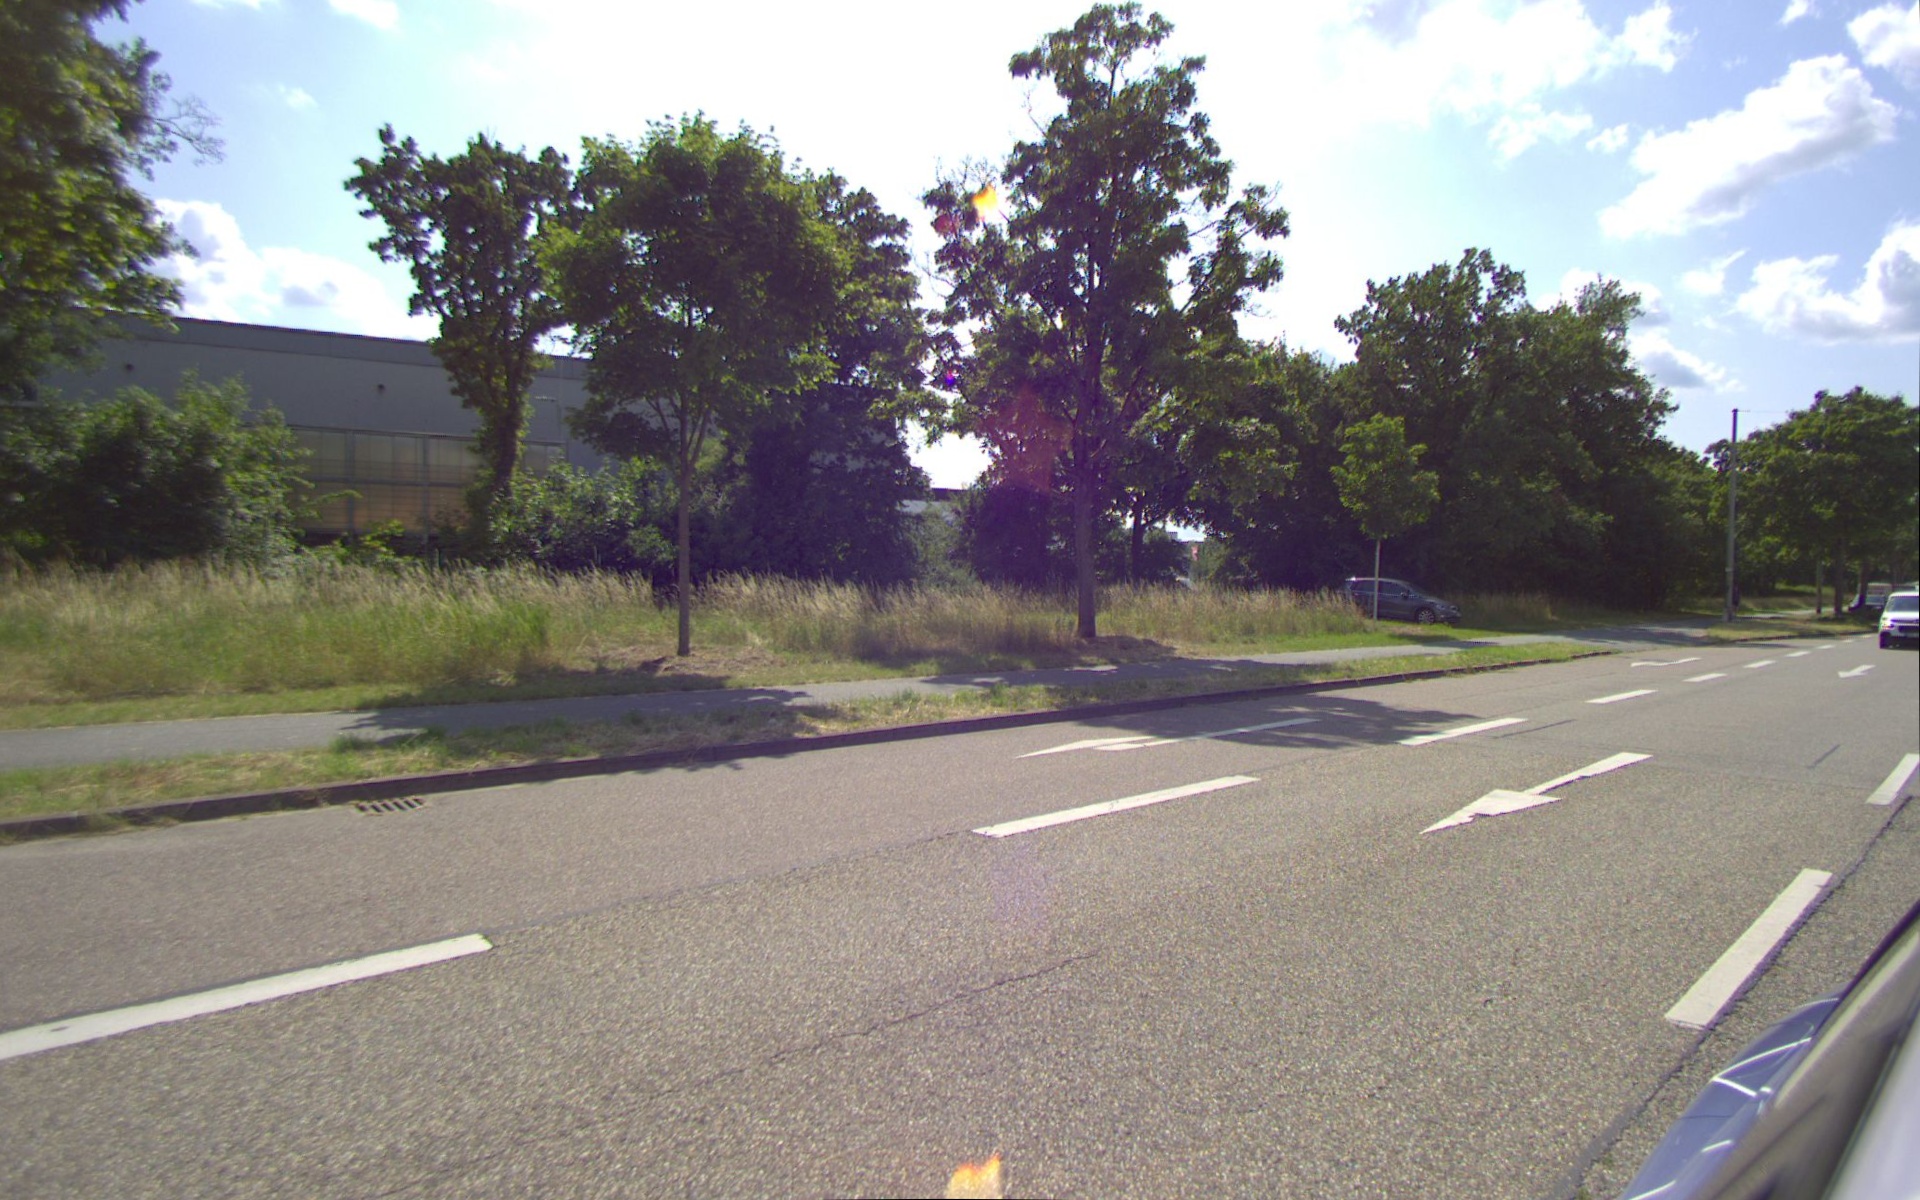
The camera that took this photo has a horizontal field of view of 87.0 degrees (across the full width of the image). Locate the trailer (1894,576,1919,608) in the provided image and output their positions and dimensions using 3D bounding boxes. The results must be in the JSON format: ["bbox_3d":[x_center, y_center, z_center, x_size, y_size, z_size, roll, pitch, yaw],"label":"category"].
[{"bbox_3d":[77.471,-0.633,82.099,4.702,2.393,1.997,-1,6,-43],"label":"trailer"}]

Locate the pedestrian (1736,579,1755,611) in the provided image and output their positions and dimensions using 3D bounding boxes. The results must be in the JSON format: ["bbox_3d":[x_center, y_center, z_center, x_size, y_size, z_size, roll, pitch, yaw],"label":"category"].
[{"bbox_3d":[44.377,-0.280,57.183,0.728,1.816,0.717,-1,0,-44],"label":"pedestrian"}]

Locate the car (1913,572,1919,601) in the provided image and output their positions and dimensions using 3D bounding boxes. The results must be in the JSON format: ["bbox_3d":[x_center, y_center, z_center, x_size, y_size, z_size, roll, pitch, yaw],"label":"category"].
[{"bbox_3d":[97.385,-1.357,101.383,6.657,2.836,2.259,-1,5,-44],"label":"car"}]

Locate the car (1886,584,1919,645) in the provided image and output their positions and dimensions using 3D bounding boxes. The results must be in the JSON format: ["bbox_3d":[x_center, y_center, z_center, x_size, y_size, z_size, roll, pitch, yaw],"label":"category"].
[{"bbox_3d":[30.002,0.429,31.047,4.634,1.808,1.933,0,-1,-42],"label":"car"}]

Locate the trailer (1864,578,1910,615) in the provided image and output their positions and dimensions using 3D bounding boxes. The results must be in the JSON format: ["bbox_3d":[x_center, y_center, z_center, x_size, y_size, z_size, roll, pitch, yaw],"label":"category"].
[{"bbox_3d":[62.464,-0.274,68.172,4.531,2.380,1.954,-1,3,-45],"label":"trailer"}]

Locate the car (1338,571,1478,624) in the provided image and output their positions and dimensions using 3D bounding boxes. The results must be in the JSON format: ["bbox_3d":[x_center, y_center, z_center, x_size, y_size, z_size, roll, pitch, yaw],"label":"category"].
[{"bbox_3d":[15.967,-0.111,36.167,4.166,1.511,1.756,6,3,44],"label":"car"}]
